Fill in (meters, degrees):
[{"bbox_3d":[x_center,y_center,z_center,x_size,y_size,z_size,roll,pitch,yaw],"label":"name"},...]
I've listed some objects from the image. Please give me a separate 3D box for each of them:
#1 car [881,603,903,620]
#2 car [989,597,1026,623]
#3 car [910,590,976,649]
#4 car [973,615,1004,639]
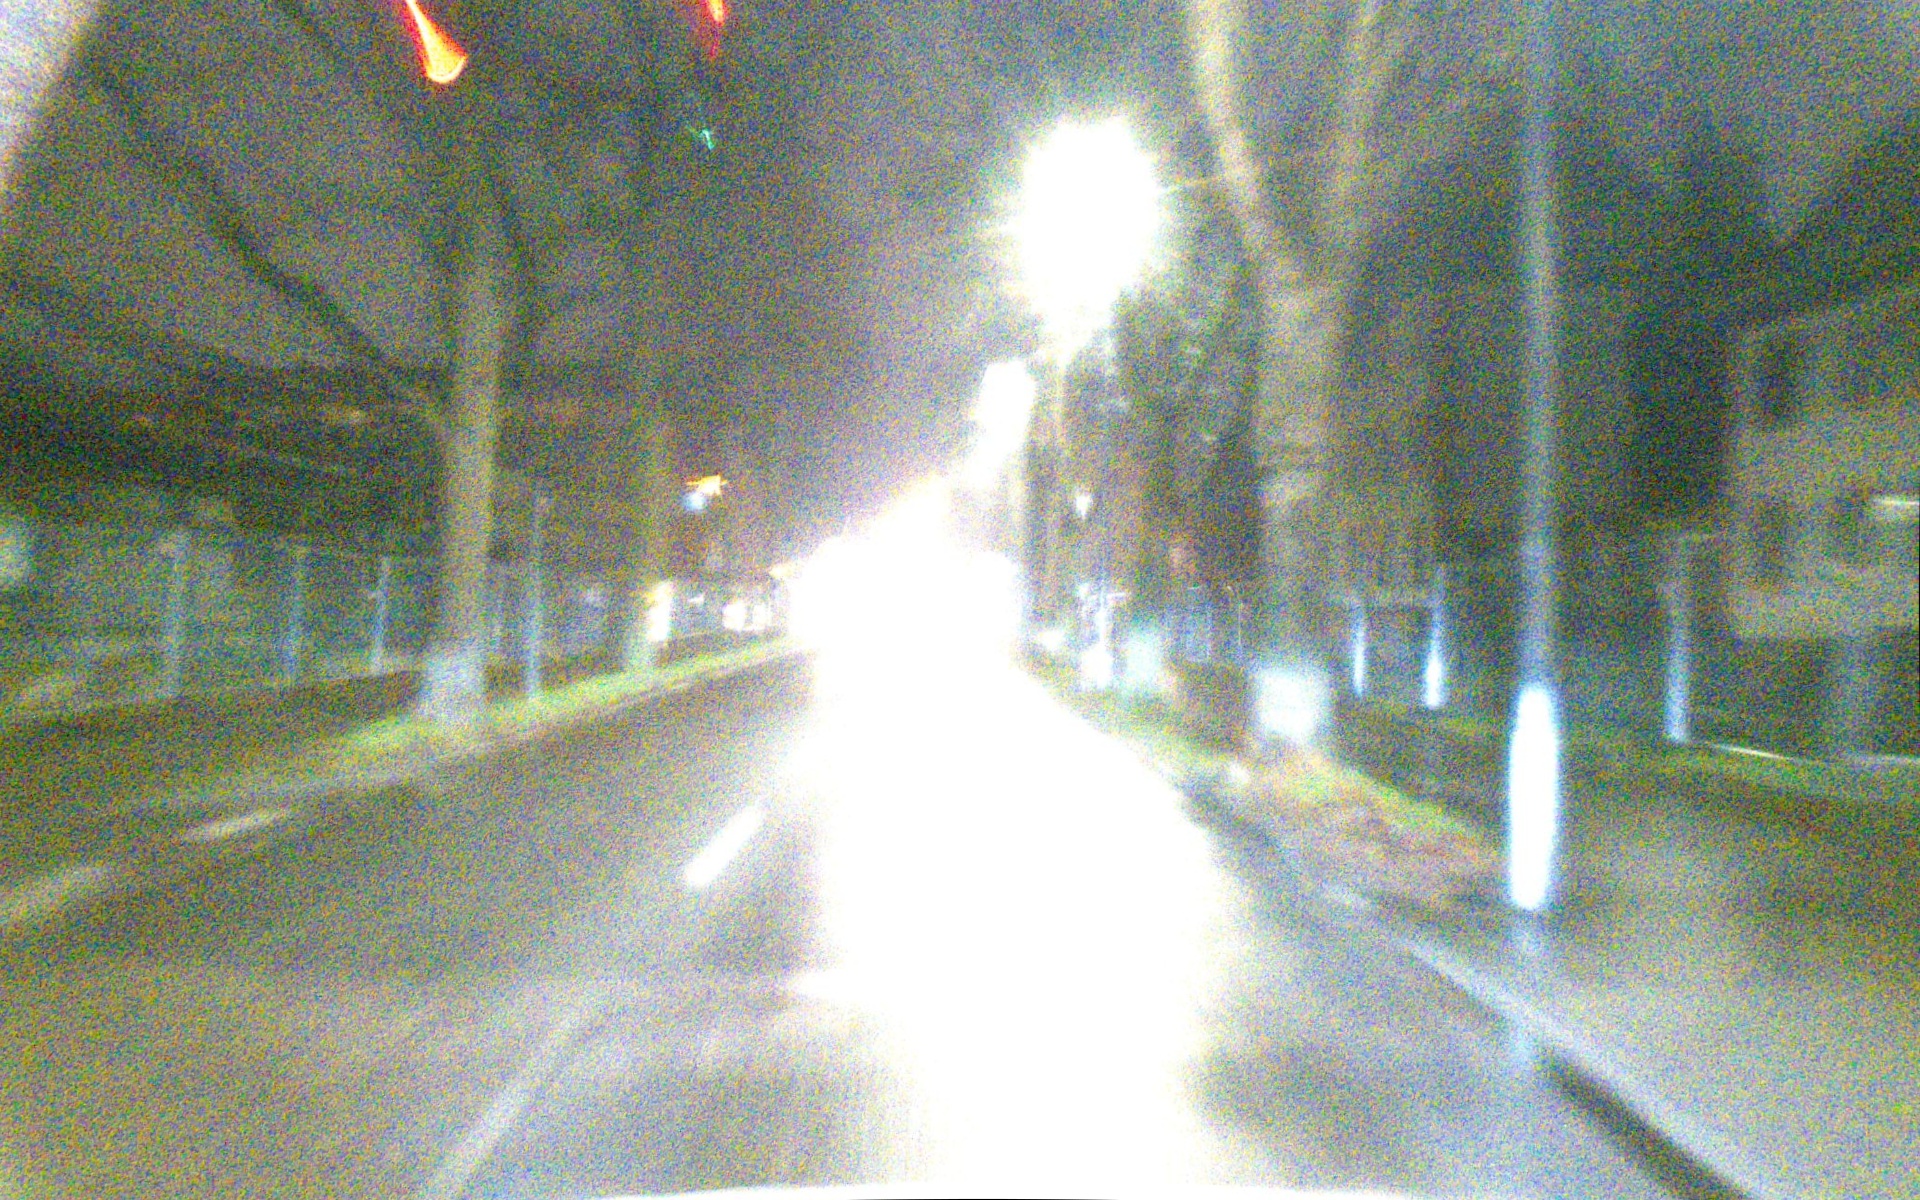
[{"bbox_3d":[-5.898,0.983,144.406,1.709,1.458,4.000,-1,0,0],"label":"car"},{"bbox_3d":[2.873,0.604,101.255,1.754,1.474,4.787,-1,1,-4],"label":"car"},{"bbox_3d":[-0.568,0.583,52.509,1.953,1.713,3.999,1,1,-2],"label":"car"},{"bbox_3d":[1.915,1.806,112.382,1.679,1.515,4.433,0,0,-4],"label":"car"}]
